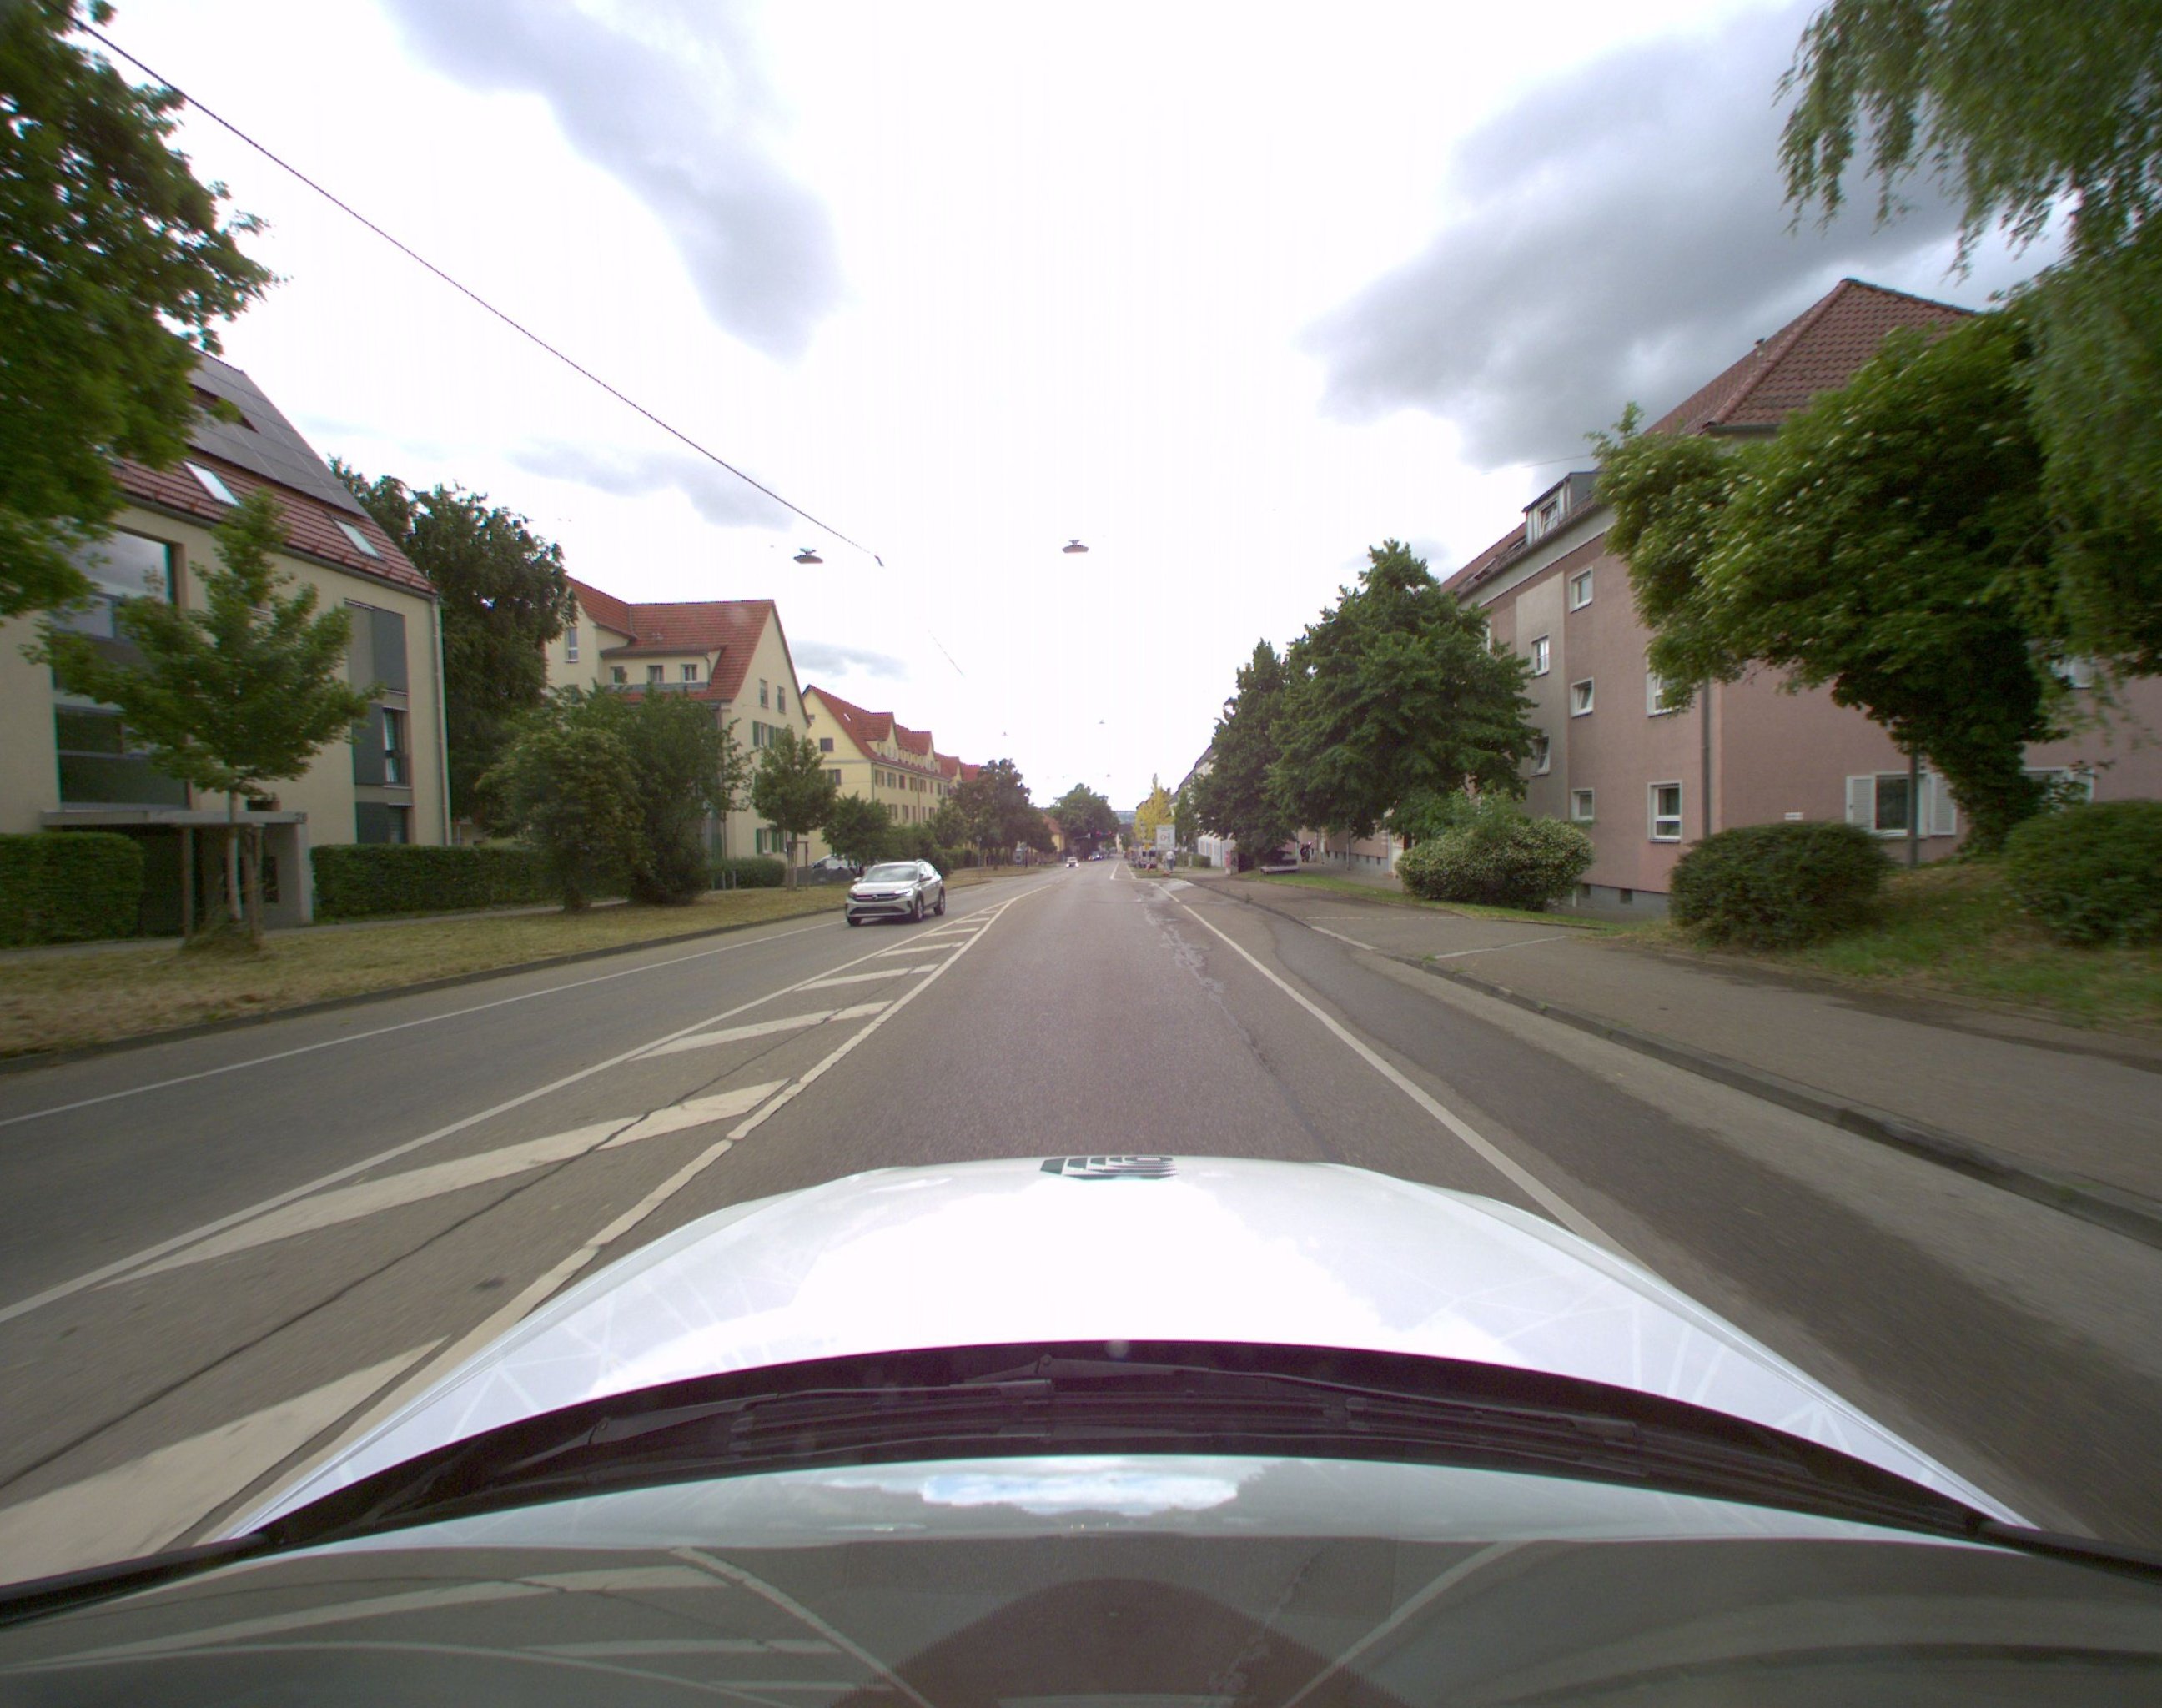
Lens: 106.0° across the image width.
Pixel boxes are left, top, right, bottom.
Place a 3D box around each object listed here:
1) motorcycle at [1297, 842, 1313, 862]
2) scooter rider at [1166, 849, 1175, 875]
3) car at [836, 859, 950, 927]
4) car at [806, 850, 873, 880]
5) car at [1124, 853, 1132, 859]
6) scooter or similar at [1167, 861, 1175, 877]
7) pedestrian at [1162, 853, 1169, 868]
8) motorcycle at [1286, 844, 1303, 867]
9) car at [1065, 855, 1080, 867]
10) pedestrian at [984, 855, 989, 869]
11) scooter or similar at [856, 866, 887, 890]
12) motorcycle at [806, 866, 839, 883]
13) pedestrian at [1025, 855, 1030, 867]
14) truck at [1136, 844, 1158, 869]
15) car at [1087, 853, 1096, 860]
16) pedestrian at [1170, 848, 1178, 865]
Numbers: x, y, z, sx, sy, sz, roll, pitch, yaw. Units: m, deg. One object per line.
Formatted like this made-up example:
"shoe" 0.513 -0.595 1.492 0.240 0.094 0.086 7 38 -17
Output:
"motorcycle" 14.558 -0.136 53.018 0.588 1.227 1.968 -1 0 2
"scooter rider" 7.111 0.614 64.710 0.623 2.013 0.758 -1 0 2
"car" -4.651 0.909 20.781 1.795 1.464 4.031 -3 0 2
"car" -19.449 0.898 65.705 4.698 2.253 1.996 -1 0 3
"car" 14.777 0.645 255.566 1.987 1.935 4.918 -1 0 0
"scooter or similar" 7.144 1.182 64.742 0.488 1.163 2.076 -1 0 2
"pedestrian" 9.730 0.752 93.546 0.577 1.644 0.559 -1 -1 -12
"motorcycle" 15.576 0.101 59.407 0.728 1.569 2.553 -1 0 3
"car" -1.274 1.050 124.402 1.891 1.620 4.365 -1 0 3
"pedestrian" -12.691 1.094 109.744 0.511 1.779 0.753 -1 0 2
"scooter or similar" -10.333 1.188 40.258 1.366 1.086 0.466 -2 0 -2
"motorcycle" -19.674 1.555 62.033 2.572 1.278 1.023 -1 0 35
"pedestrian" -7.924 0.975 119.884 0.594 1.727 0.862 0 0 5
"truck" 7.093 0.249 88.154 2.045 2.565 5.692 -1 0 2
"car" 2.472 0.617 197.405 1.747 1.472 4.313 -2 0 6
"pedestrian" 10.675 0.290 93.000 0.670 1.887 0.763 -1 -1 -10
